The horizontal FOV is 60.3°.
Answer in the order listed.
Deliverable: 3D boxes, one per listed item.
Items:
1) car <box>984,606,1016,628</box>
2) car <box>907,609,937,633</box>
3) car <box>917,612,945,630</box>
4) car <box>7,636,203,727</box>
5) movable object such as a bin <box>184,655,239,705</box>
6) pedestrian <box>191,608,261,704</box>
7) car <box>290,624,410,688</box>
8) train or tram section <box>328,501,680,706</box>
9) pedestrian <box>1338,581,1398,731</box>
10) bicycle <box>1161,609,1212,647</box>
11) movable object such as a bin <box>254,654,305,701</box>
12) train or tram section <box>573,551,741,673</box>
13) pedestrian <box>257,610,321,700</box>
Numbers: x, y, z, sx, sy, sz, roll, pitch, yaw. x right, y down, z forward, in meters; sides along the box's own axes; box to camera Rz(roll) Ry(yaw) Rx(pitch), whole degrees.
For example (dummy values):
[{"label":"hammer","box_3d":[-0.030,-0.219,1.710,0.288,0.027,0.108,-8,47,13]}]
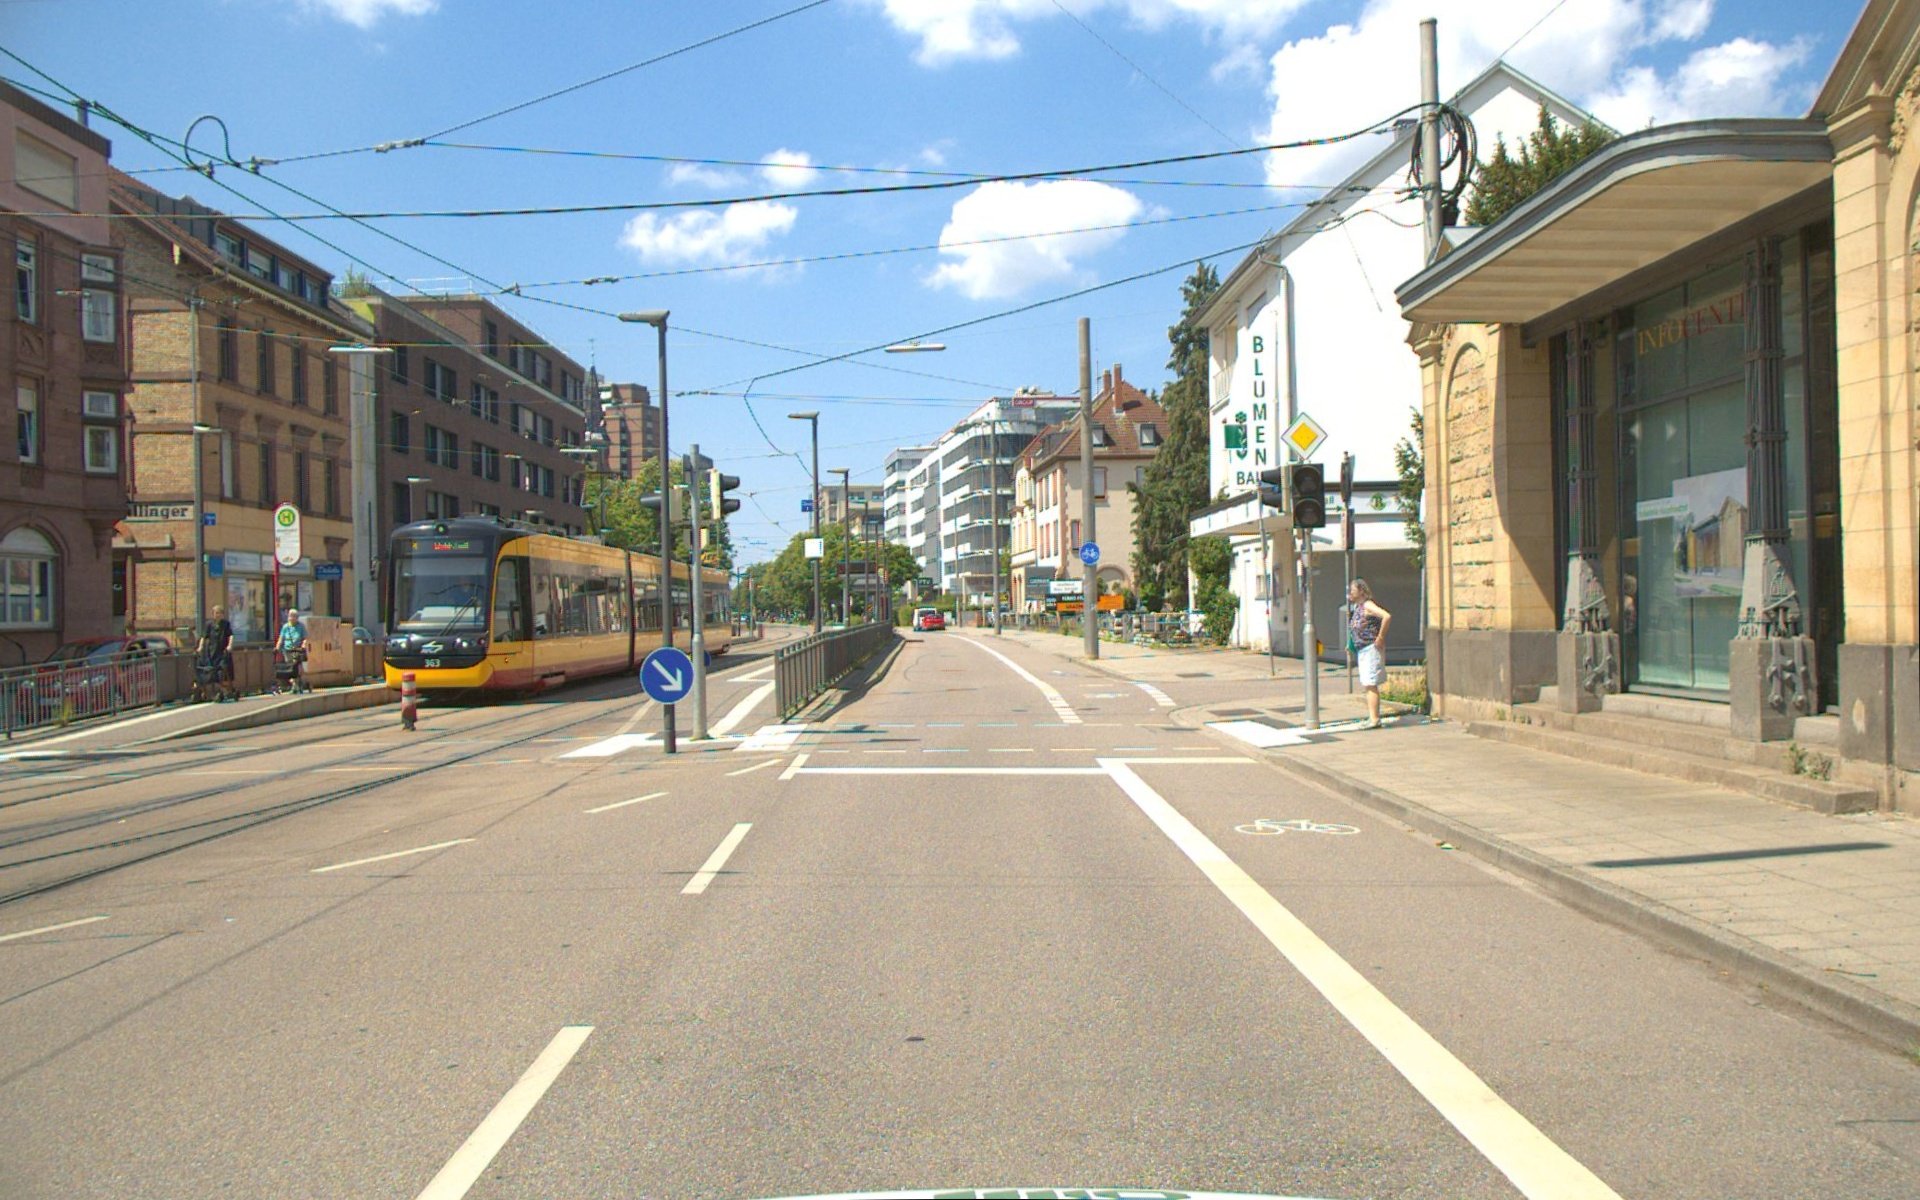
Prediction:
[{"label":"car","box_3d":[3.178,1.364,131.806,1.842,1.652,4.633,-4,0,-6]},{"label":"car","box_3d":[-3.396,1.860,148.005,1.957,2.026,5.503,-3,0,-9]},{"label":"car","box_3d":[-2.519,1.814,141.532,1.956,1.467,4.010,-1,-1,-7]},{"label":"car","box_3d":[-15.652,1.450,30.490,1.621,1.470,3.852,-2,0,-1]},{"label":"movable object such as a bin","box_3d":[-12.497,1.336,27.611,0.661,0.794,0.538,-2,-1,-3]},{"label":"pedestrian","box_3d":[-12.523,0.947,28.240,0.769,1.587,0.920,-2,-1,-1]},{"label":"car","box_3d":[-15.932,1.422,43.369,1.617,1.482,3.789,-3,0,1]},{"label":"train or tram section","box_3d":[-9.970,0.204,40.150,3.185,3.630,20.494,-2,-1,-1]},{"label":"pedestrian","box_3d":[4.741,0.640,19.200,0.551,1.695,0.681,-2,-1,22]},{"label":"bicycle","box_3d":[7.006,0.858,51.147,1.500,1.105,0.430,-3,-1,5]},{"label":"movable object such as a bin","box_3d":[-12.200,1.384,29.664,0.661,0.794,0.619,-2,0,-3]},{"label":"train or tram section","box_3d":[-10.290,0.479,58.423,3.169,3.630,16.344,-2,-1,-1]},{"label":"pedestrian","box_3d":[-12.243,0.995,30.193,0.769,1.587,0.920,-2,-1,-1]}]
